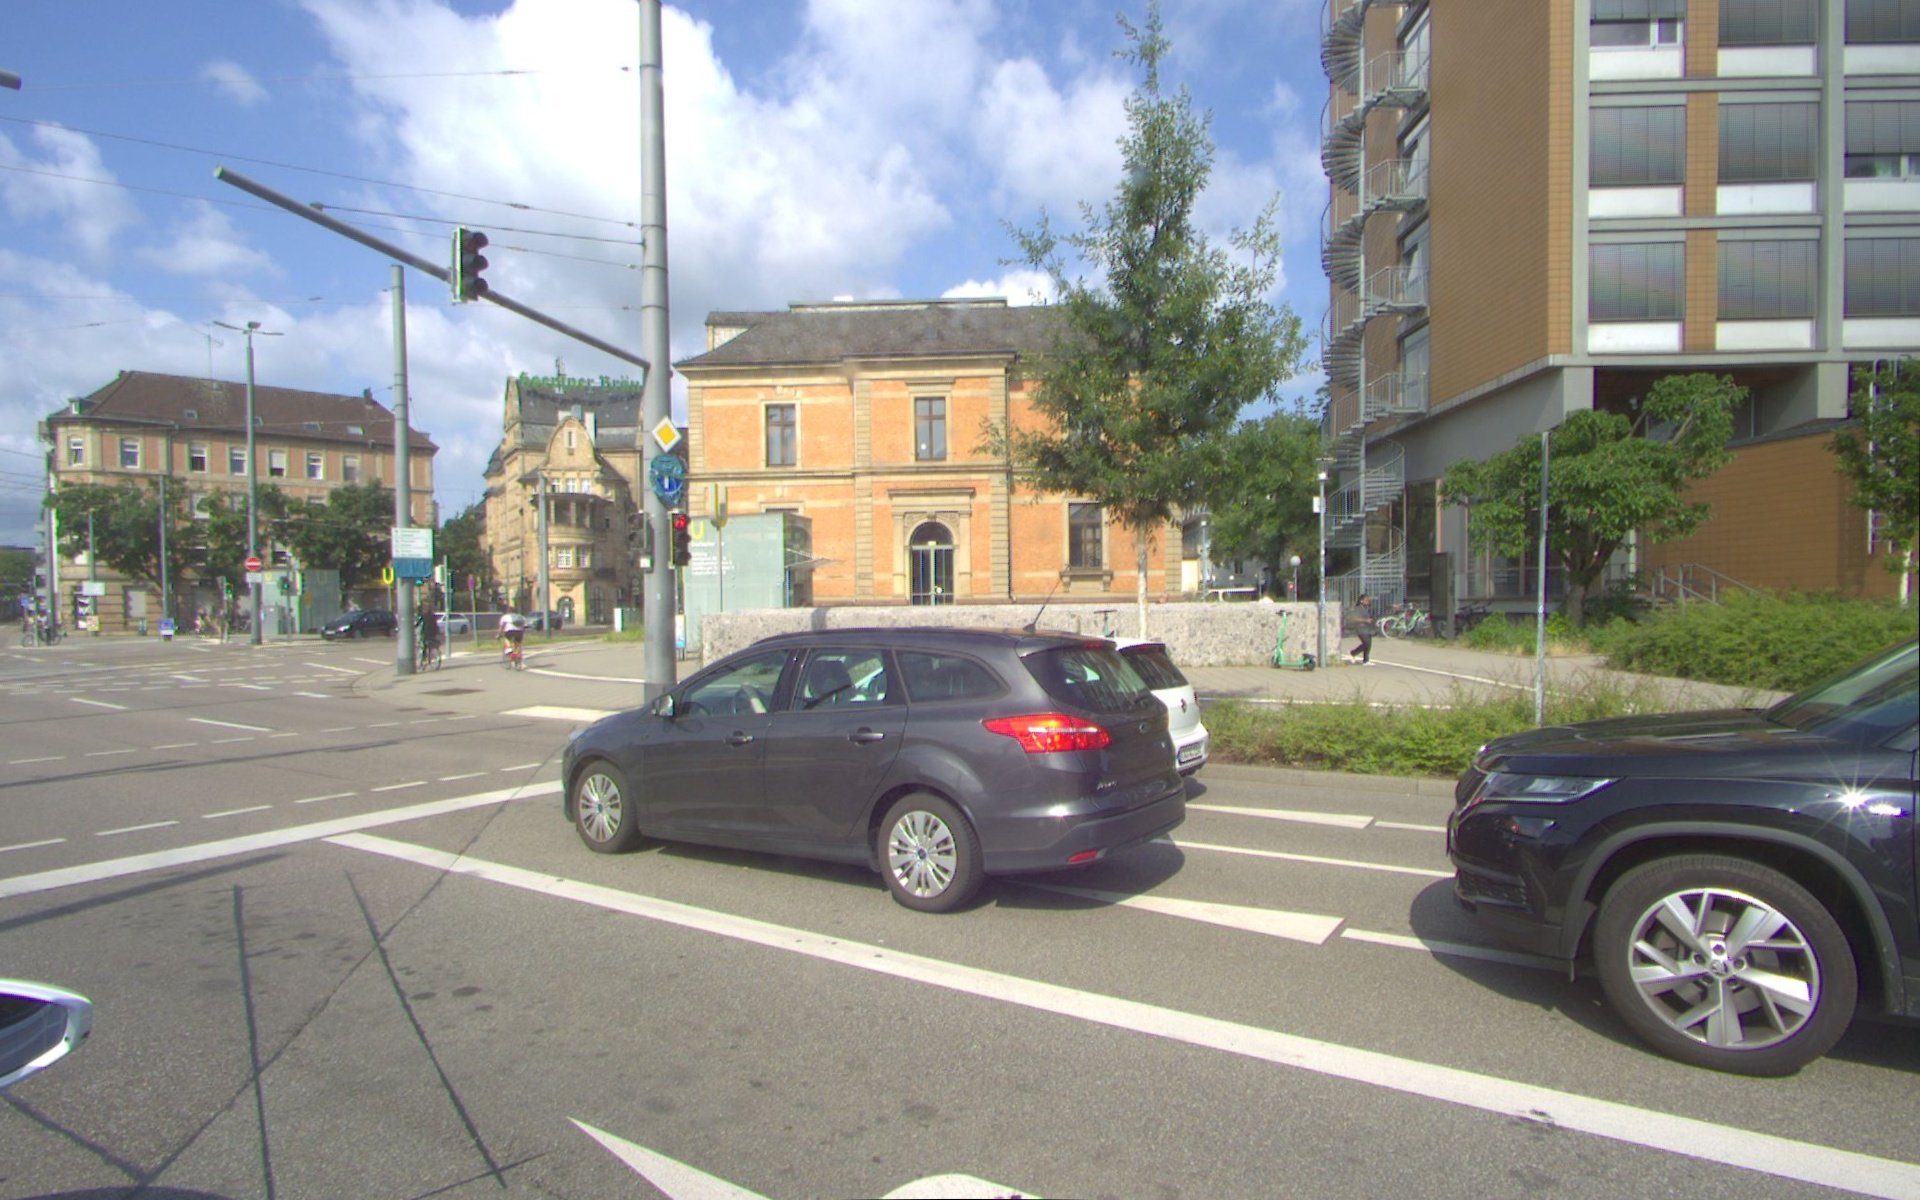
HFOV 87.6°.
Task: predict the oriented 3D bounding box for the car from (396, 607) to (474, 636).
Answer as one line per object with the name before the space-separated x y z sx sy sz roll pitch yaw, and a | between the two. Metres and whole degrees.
car | -32.115 1.286 61.460 1.961 1.617 4.683 0 0 6

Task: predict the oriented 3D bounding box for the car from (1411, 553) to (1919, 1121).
car | 4.150 0.690 3.352 4.615 1.690 1.990 -2 -1 31

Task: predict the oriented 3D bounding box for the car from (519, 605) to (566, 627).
car | -33.286 1.257 79.925 1.721 1.621 3.999 0 0 7

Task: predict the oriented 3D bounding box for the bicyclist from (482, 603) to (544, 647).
bicyclist | -11.580 0.667 25.946 1.198 1.040 0.989 -4 -4 32

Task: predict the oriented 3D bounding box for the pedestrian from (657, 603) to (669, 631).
pedestrian | -16.085 0.918 54.312 0.497 1.525 0.499 -1 1 -2

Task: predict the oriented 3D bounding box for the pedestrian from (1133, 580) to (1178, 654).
pedestrian | 4.389 0.375 22.487 0.754 1.610 0.768 0 4 32

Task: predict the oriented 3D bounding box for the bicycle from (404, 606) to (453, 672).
bicycle | -14.691 1.074 27.641 0.995 1.747 2.455 1 -2 -32

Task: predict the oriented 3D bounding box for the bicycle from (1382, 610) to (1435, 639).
bicycle | 14.935 0.802 33.375 1.520 0.916 0.459 -1 0 5

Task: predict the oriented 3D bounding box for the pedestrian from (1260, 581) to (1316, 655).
pedestrian | 7.405 0.390 22.648 0.753 1.610 0.934 -3 3 -27

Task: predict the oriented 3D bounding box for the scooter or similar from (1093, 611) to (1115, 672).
scooter or similar | 2.977 0.840 20.739 0.395 1.212 1.186 -1 1 6

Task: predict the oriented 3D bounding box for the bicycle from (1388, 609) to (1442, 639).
bicycle | 14.872 0.779 32.745 1.520 0.916 0.459 -1 0 5

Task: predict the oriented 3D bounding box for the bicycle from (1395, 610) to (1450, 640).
bicycle | 14.817 0.785 32.103 1.520 0.916 0.459 -1 0 5

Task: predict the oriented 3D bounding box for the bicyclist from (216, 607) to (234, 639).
bicyclist | -39.746 1.249 54.162 0.646 1.693 0.571 0 1 29

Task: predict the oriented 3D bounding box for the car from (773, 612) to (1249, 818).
car | 0.378 0.929 9.427 4.172 1.464 1.676 1 -2 34

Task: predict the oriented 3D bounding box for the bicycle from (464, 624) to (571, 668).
bicycle | -11.453 1.207 25.859 3.066 1.040 0.991 -4 -4 32

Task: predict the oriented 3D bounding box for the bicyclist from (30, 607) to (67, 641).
bicyclist | -46.844 1.230 51.460 0.774 1.680 1.192 0 1 30

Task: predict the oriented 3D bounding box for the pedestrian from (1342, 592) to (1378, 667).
pedestrian | 8.470 0.622 21.202 0.573 1.541 0.476 -1 1 36

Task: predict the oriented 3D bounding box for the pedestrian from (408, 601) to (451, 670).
pedestrian | -14.597 0.972 27.556 0.982 1.865 0.990 1 -1 -32

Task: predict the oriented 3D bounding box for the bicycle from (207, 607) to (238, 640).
bicycle | -39.910 1.269 54.189 1.612 1.801 0.728 0 1 29

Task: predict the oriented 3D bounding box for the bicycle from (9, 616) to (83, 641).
bicycle | -46.839 1.446 51.357 0.887 1.186 2.668 0 0 29

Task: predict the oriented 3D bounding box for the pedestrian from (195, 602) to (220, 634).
pedestrian | -43.900 1.082 58.423 0.872 1.833 0.866 -1 -1 21

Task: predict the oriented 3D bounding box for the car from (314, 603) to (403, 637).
car | -32.930 1.148 54.976 1.961 1.761 4.343 0 -2 5

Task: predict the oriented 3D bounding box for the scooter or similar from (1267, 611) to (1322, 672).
scooter or similar | 6.627 0.800 19.878 0.396 1.146 1.184 -1 1 -19

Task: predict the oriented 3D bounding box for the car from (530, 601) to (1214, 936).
car | -0.678 0.839 6.500 4.193 1.548 1.765 -1 -2 31
